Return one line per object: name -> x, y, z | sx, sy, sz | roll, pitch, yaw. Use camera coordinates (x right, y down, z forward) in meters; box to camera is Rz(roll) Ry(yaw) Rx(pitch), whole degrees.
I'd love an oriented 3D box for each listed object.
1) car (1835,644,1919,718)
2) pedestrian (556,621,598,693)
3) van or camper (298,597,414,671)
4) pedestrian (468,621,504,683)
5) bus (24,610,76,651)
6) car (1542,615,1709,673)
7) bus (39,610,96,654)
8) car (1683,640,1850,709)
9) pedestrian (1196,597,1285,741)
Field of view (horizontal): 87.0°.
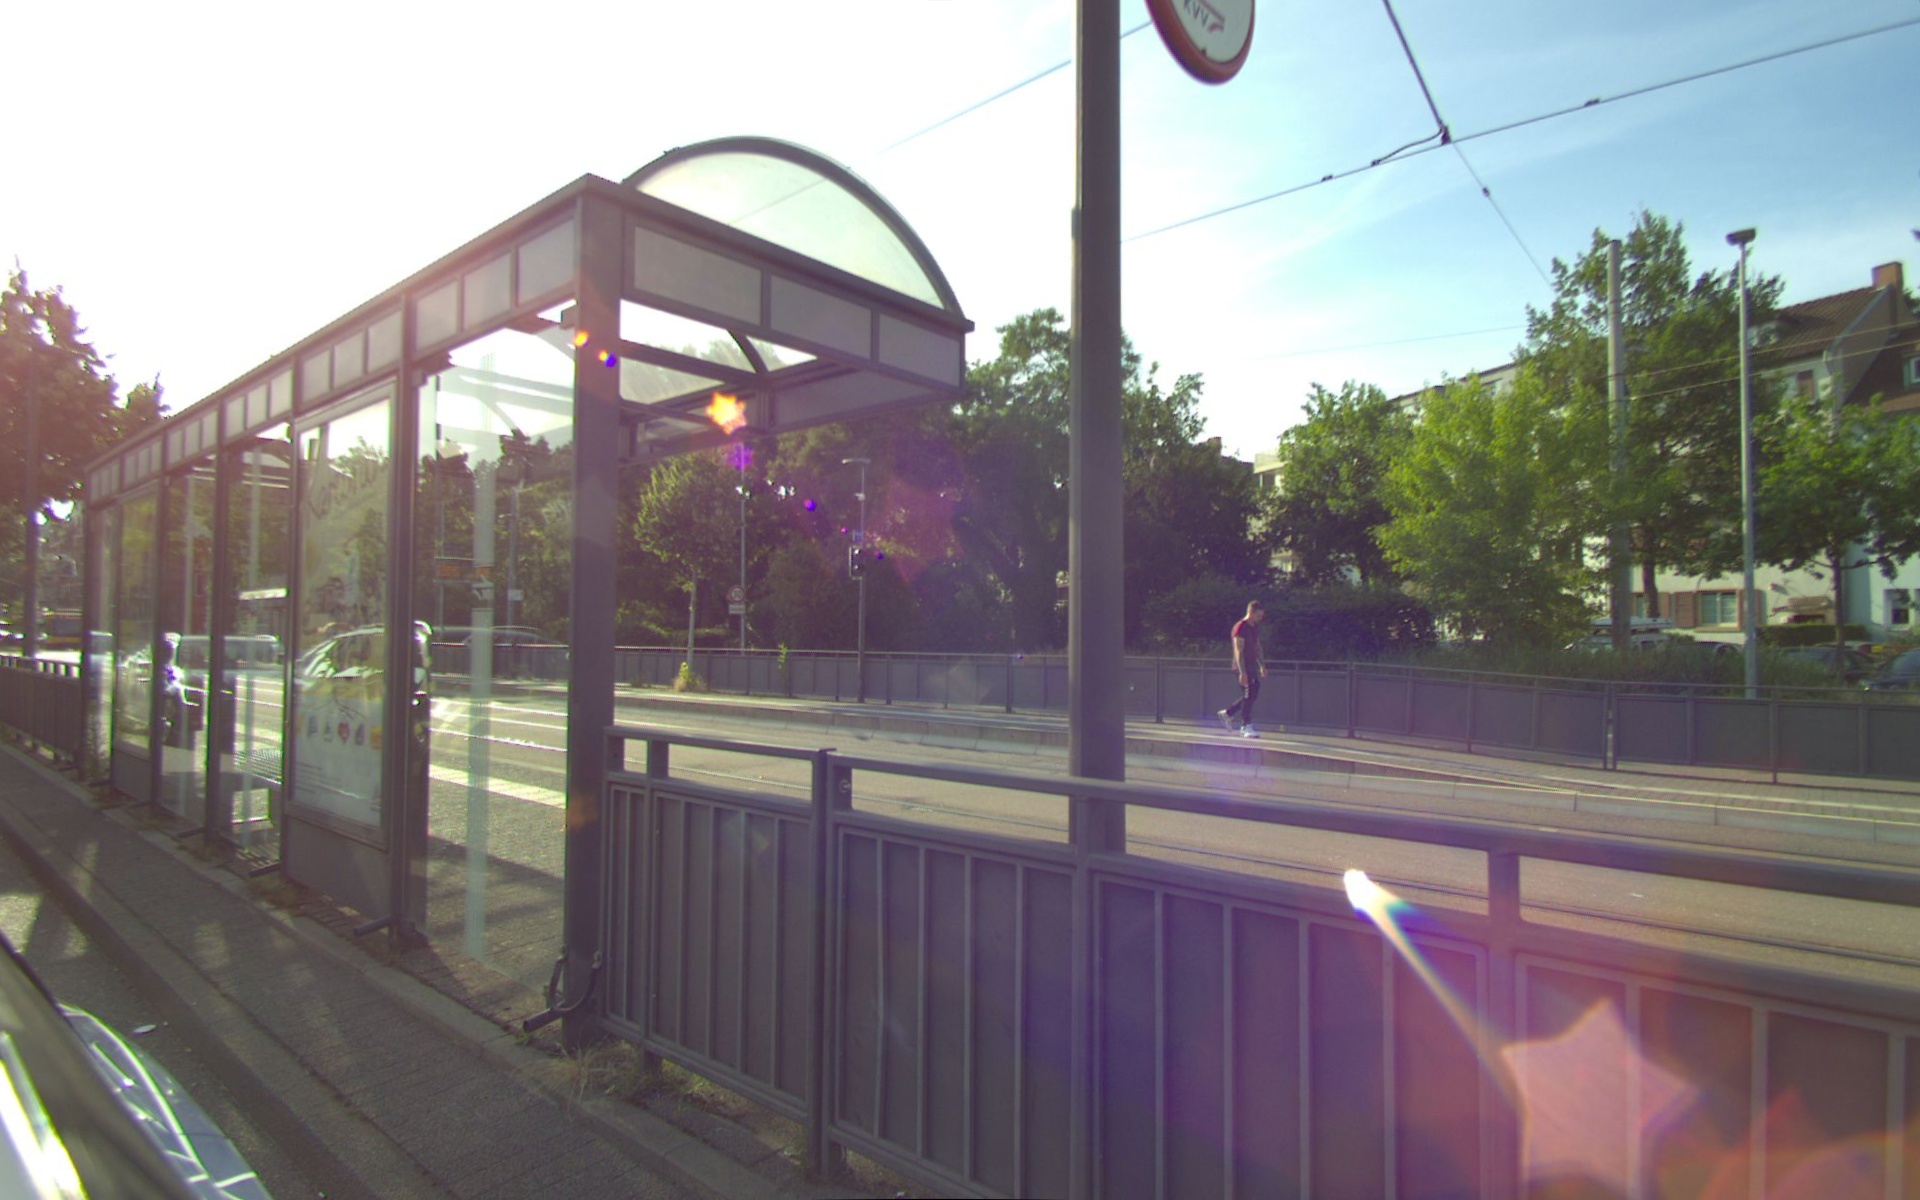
car -> 19.666, 1.602, 20.587 | 3.935, 1.409, 2.004 | 2, -3, -37
pedestrian -> -9.211, 1.376, 24.332 | 0.618, 1.697, 0.613 | -2, -6, 41
van or camper -> -26.312, 1.398, 43.947 | 6.408, 2.990, 2.494 | -1, 0, 41
pedestrian -> -13.334, 1.471, 28.476 | 0.618, 1.697, 0.613 | -2, -6, 41
bus -> -80.240, 2.640, 89.177 | 9.258, 3.461, 2.405 | -1, 0, 41
car -> 17.972, 1.195, 27.349 | 3.930, 1.497, 1.854 | 1, -3, -22
bus -> -73.300, 2.549, 83.043 | 9.258, 3.461, 2.405 | -1, 0, 41
car -> 18.213, 1.626, 22.814 | 3.935, 1.409, 2.004 | 2, -3, -37
pedestrian -> 3.442, 0.847, 12.421 | 0.877, 1.697, 0.547 | -2, -6, 41
